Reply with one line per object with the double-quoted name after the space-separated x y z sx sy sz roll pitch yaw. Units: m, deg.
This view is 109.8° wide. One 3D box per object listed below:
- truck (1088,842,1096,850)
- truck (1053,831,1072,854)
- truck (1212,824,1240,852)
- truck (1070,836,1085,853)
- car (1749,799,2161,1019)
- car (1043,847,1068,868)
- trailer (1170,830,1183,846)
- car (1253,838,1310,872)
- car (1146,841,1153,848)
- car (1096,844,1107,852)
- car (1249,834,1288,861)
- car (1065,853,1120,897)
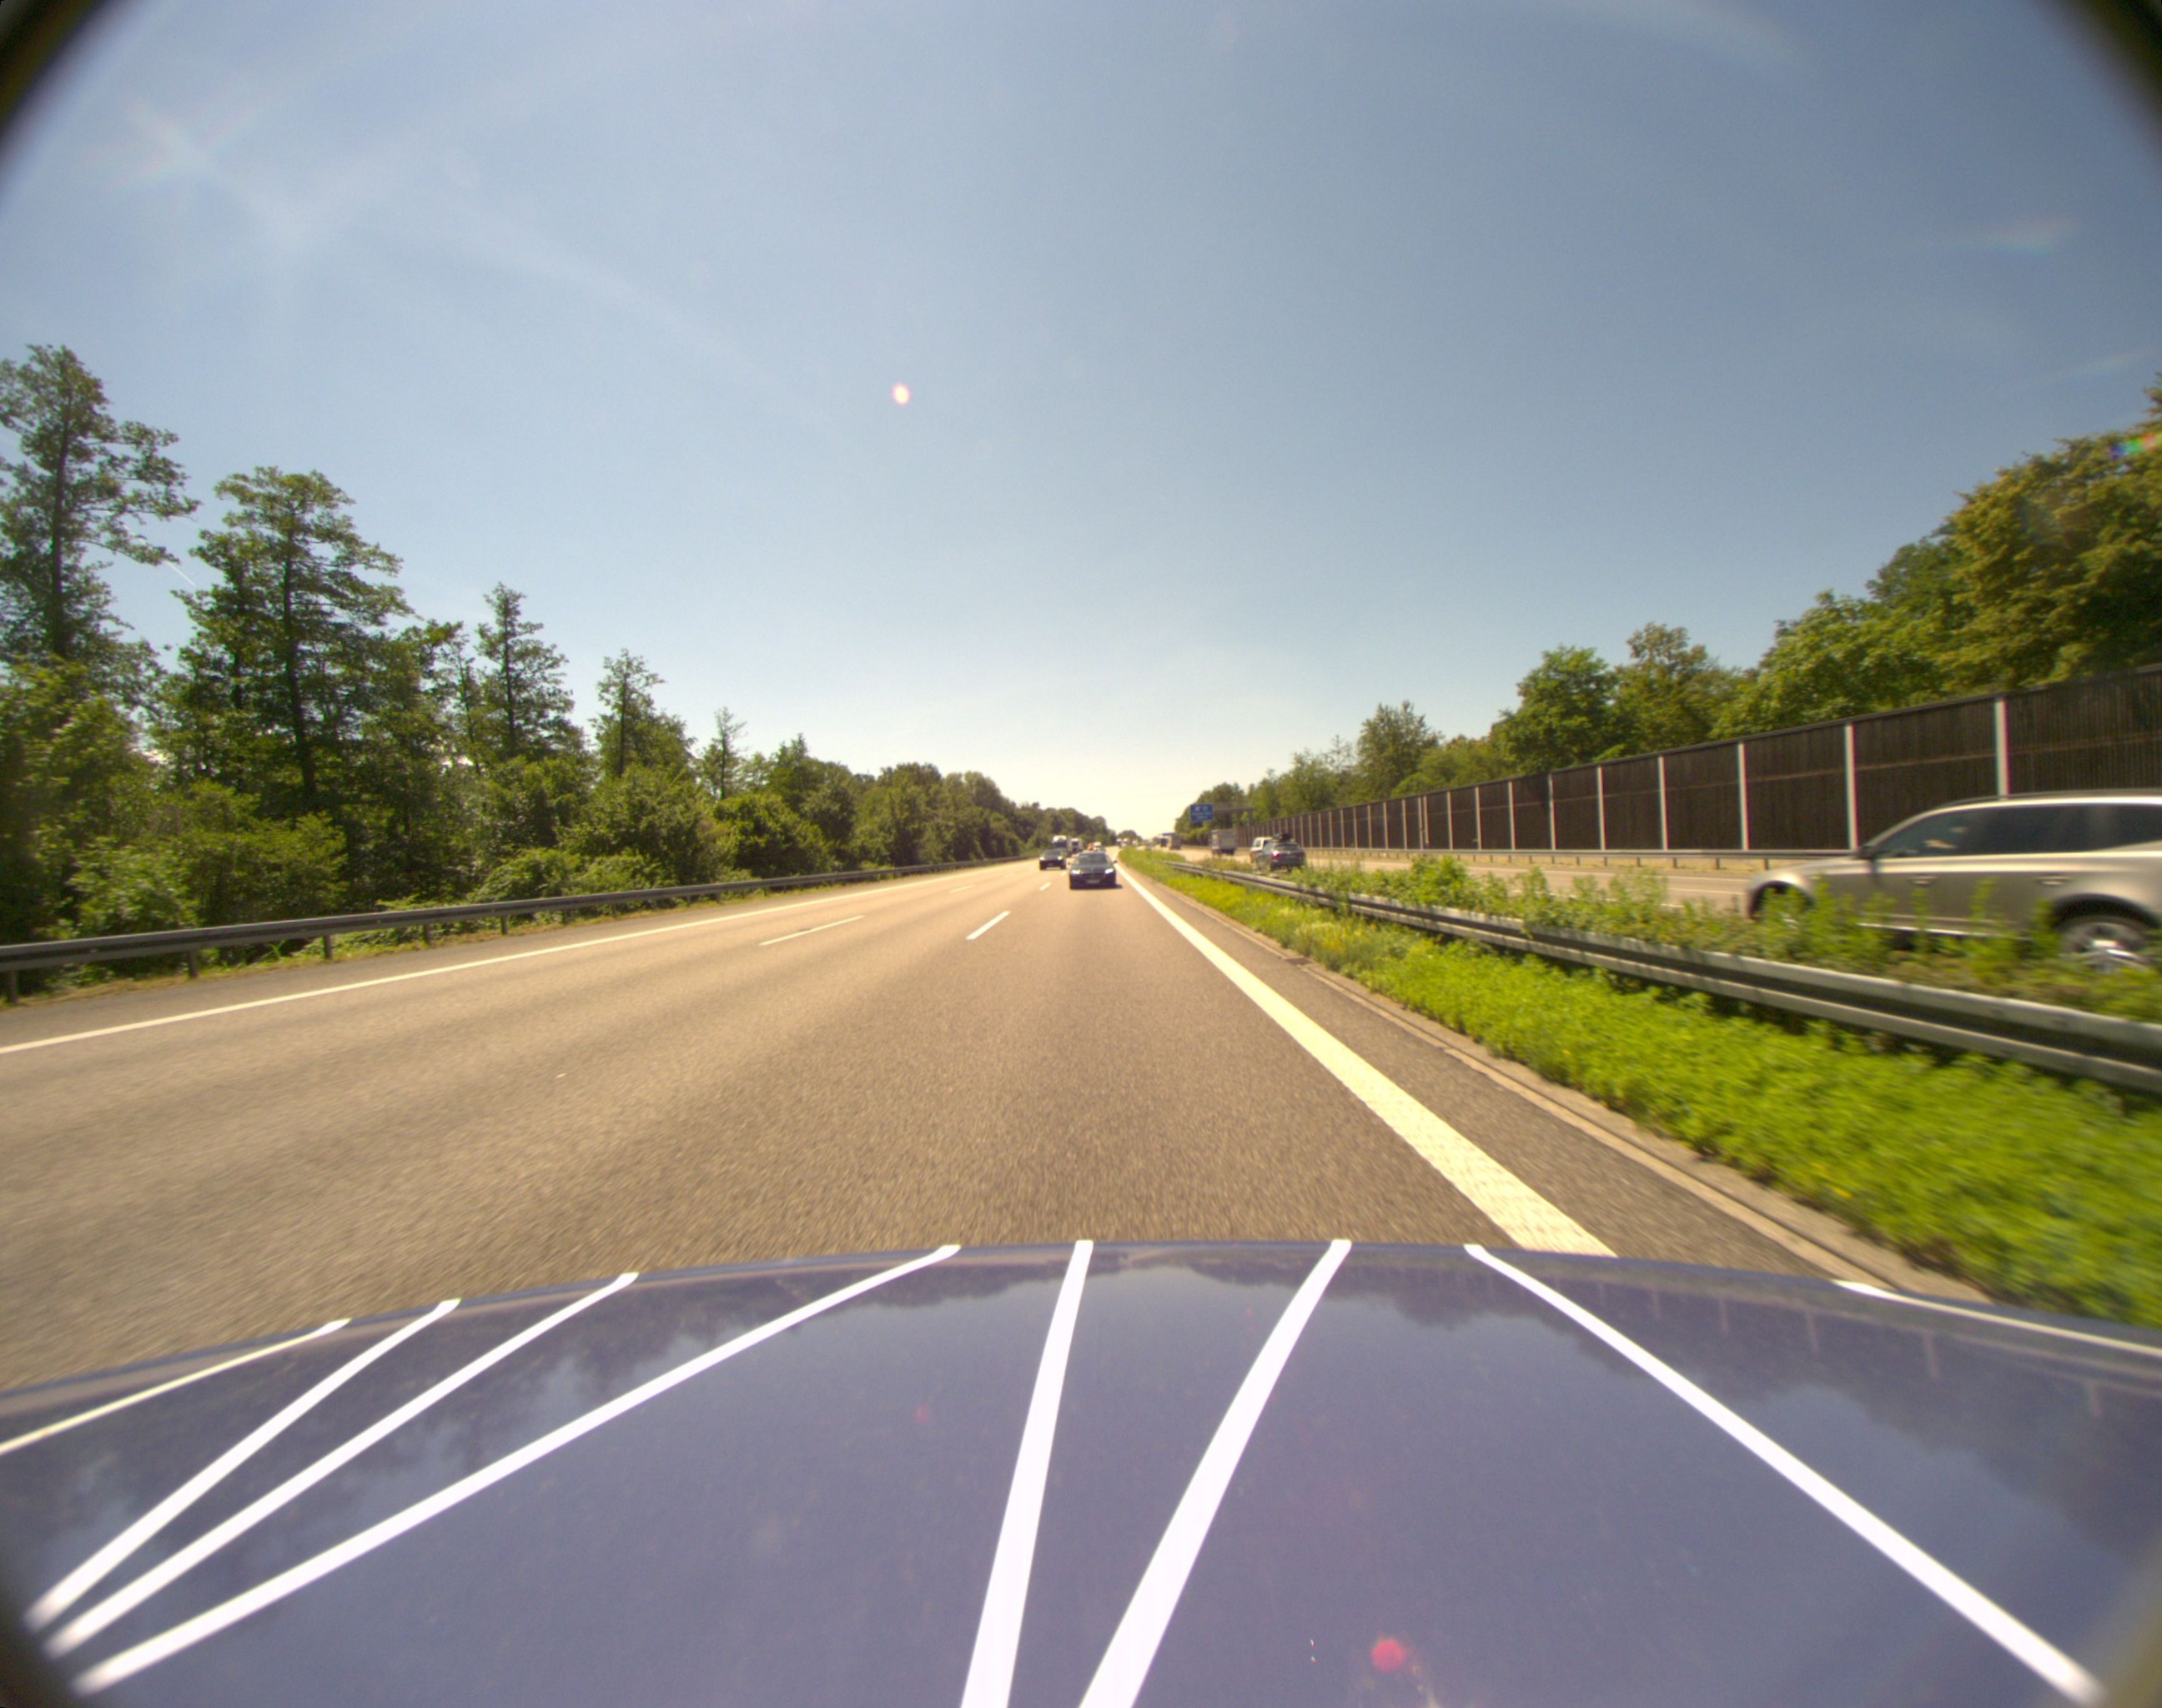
3.626 -2.627 254.372 2.437 2.426 10.008 -2 1 2 "truck"
-3.331 -2.063 139.070 2.728 3.952 6.502 -2 1 5 "truck"
20.380 -2.252 107.214 2.839 3.589 8.746 -2 1 4 "truck"
-0.726 -2.256 188.071 3.049 3.947 14.453 -2 1 2 "truck"
8.934 0.364 7.142 1.770 1.642 4.038 -2 1 1 "car"
-2.121 0.257 63.212 1.862 1.614 3.736 -2 1 1 "car"
25.946 -4.417 206.709 2.490 4.112 13.653 -2 1 3 "trailer"
9.919 0.019 37.901 1.717 1.534 4.361 -2 1 0 "car"
16.642 -2.355 185.352 1.587 1.579 4.000 -2 1 3 "car"
4.290 -1.282 158.345 1.879 1.630 4.001 -2 1 5 "car"
14.547 -0.528 59.230 1.931 1.934 4.608 -2 1 1 "car"
0.437 0.694 28.019 1.800 1.390 4.833 -2 1 1 "car"
